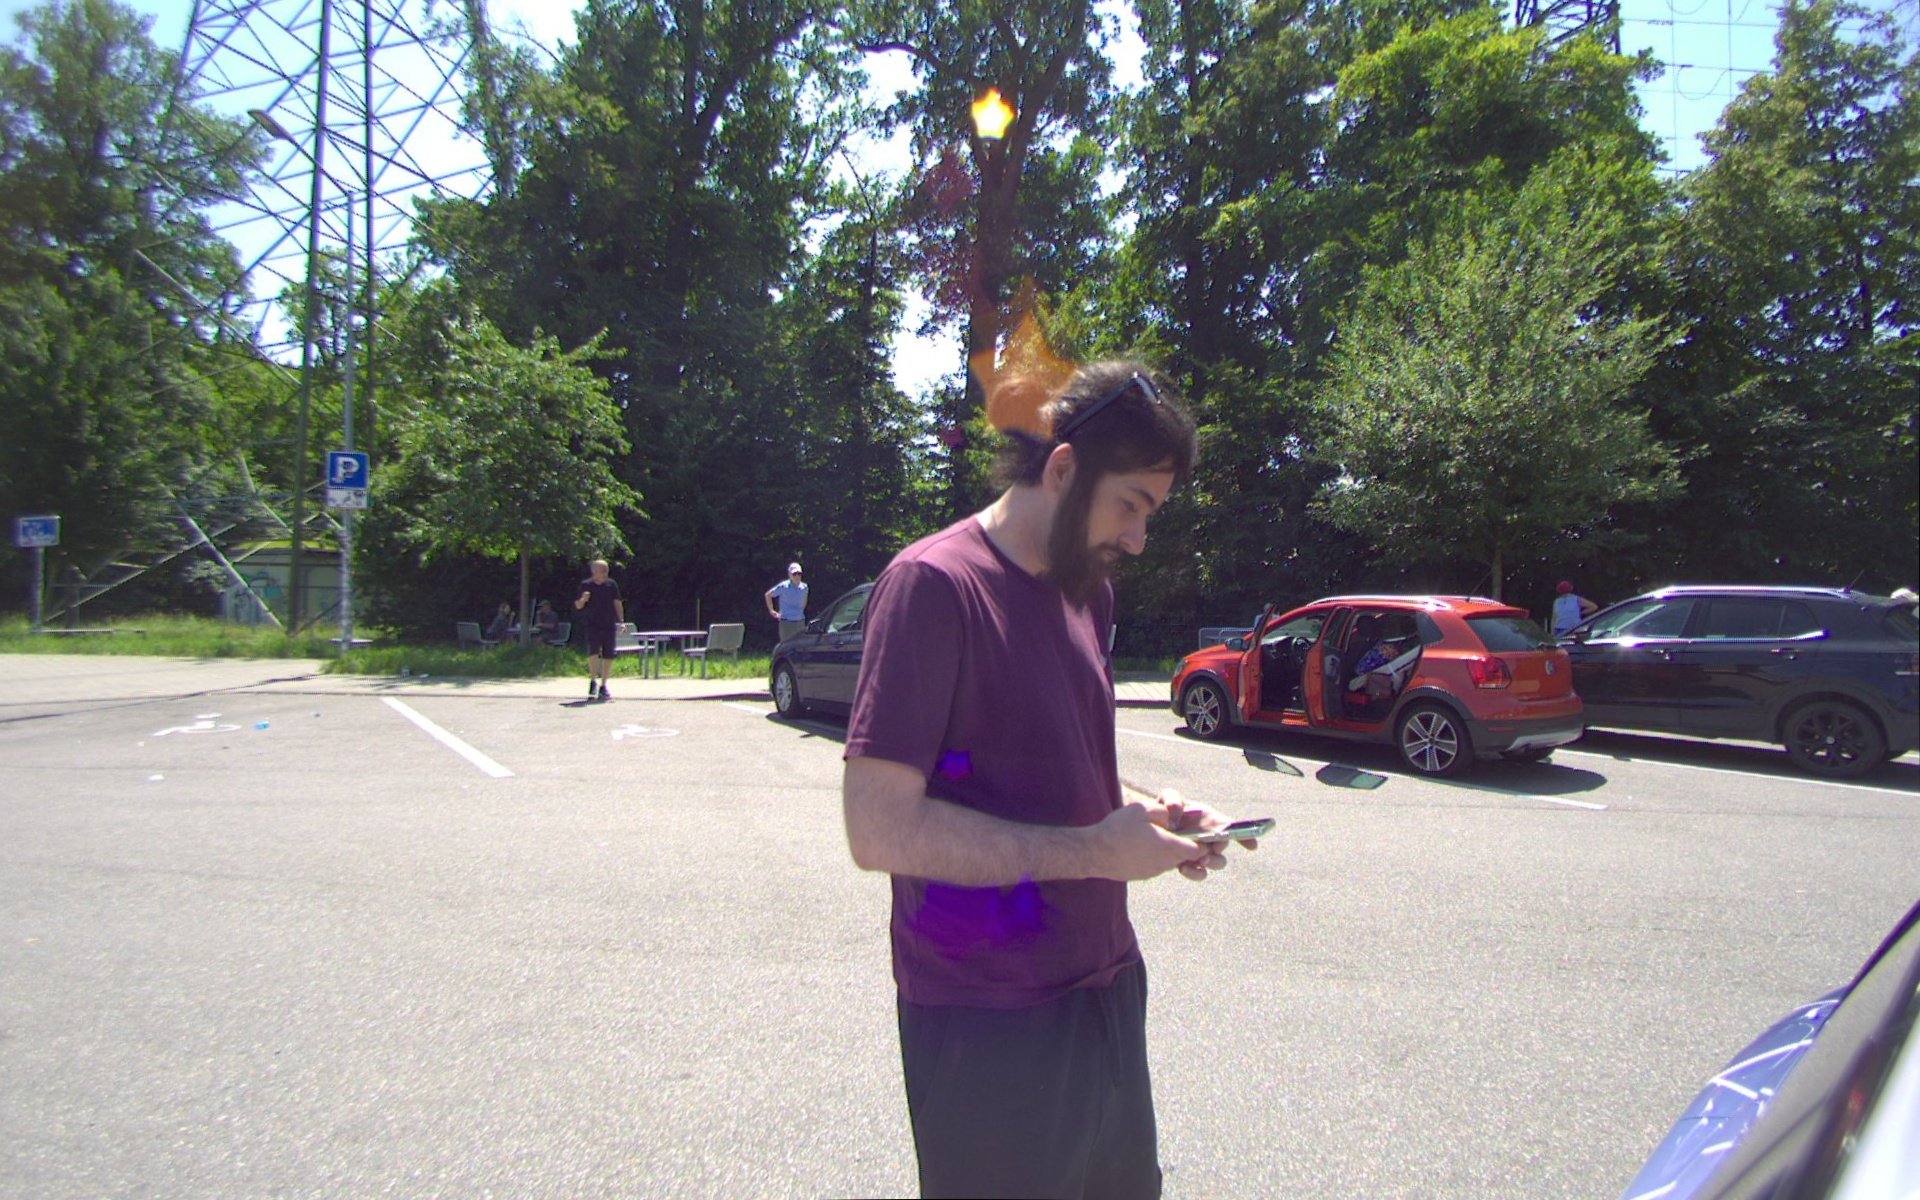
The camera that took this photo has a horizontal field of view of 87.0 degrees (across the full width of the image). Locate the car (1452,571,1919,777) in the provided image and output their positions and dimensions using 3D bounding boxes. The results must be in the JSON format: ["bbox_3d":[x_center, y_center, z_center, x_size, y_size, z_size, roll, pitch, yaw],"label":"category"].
[{"bbox_3d":[7.195,0.575,9.832,1.807,1.612,3.967,1,0,-38],"label":"car"}]

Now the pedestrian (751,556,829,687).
[{"bbox_3d":[-2.406,0.297,14.324,0.786,1.784,0.809,1,-1,-39],"label":"pedestrian"}]

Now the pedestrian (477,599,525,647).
[{"bbox_3d":[-10.367,0.516,22.846,0.796,1.062,0.714,1,-1,-43],"label":"pedestrian"}]

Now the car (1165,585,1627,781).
[{"bbox_3d":[3.914,0.620,9.644,1.746,1.475,3.710,1,0,-33],"label":"car"}]

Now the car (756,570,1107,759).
[{"bbox_3d":[-0.497,0.542,10.692,1.809,1.588,4.017,1,0,-35],"label":"car"}]

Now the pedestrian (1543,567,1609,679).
[{"bbox_3d":[9.245,0.333,15.193,0.712,1.614,0.797,0,-1,42],"label":"pedestrian"}]

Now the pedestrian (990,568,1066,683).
[{"bbox_3d":[0.988,0.358,14.797,0.793,1.614,0.776,1,-1,-31],"label":"pedestrian"}]

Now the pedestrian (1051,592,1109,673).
[{"bbox_3d":[1.991,0.533,16.854,0.656,1.311,0.832,1,-1,-17],"label":"pedestrian"}]

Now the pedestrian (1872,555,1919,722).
[{"bbox_3d":[11.149,0.440,11.688,0.672,1.889,0.710,0,-1,19],"label":"pedestrian"}]

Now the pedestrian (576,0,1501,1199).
[{"bbox_3d":[0.122,0.455,1.349,0.828,1.797,0.926,0,-1,45],"label":"pedestrian"}]

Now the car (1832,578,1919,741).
[{"bbox_3d":[10.917,0.600,9.380,1.745,1.612,3.972,1,0,-32],"label":"car"}]

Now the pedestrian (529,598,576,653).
[{"bbox_3d":[-9.540,0.592,23.672,0.796,1.253,0.713,1,-1,-44],"label":"pedestrian"}]

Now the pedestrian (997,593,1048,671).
[{"bbox_3d":[1.056,0.536,17.093,0.656,1.285,0.655,1,-1,-17],"label":"pedestrian"}]

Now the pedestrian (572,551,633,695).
[{"bbox_3d":[-4.786,0.295,13.517,0.700,1.851,0.906,1,-1,-22],"label":"pedestrian"}]
